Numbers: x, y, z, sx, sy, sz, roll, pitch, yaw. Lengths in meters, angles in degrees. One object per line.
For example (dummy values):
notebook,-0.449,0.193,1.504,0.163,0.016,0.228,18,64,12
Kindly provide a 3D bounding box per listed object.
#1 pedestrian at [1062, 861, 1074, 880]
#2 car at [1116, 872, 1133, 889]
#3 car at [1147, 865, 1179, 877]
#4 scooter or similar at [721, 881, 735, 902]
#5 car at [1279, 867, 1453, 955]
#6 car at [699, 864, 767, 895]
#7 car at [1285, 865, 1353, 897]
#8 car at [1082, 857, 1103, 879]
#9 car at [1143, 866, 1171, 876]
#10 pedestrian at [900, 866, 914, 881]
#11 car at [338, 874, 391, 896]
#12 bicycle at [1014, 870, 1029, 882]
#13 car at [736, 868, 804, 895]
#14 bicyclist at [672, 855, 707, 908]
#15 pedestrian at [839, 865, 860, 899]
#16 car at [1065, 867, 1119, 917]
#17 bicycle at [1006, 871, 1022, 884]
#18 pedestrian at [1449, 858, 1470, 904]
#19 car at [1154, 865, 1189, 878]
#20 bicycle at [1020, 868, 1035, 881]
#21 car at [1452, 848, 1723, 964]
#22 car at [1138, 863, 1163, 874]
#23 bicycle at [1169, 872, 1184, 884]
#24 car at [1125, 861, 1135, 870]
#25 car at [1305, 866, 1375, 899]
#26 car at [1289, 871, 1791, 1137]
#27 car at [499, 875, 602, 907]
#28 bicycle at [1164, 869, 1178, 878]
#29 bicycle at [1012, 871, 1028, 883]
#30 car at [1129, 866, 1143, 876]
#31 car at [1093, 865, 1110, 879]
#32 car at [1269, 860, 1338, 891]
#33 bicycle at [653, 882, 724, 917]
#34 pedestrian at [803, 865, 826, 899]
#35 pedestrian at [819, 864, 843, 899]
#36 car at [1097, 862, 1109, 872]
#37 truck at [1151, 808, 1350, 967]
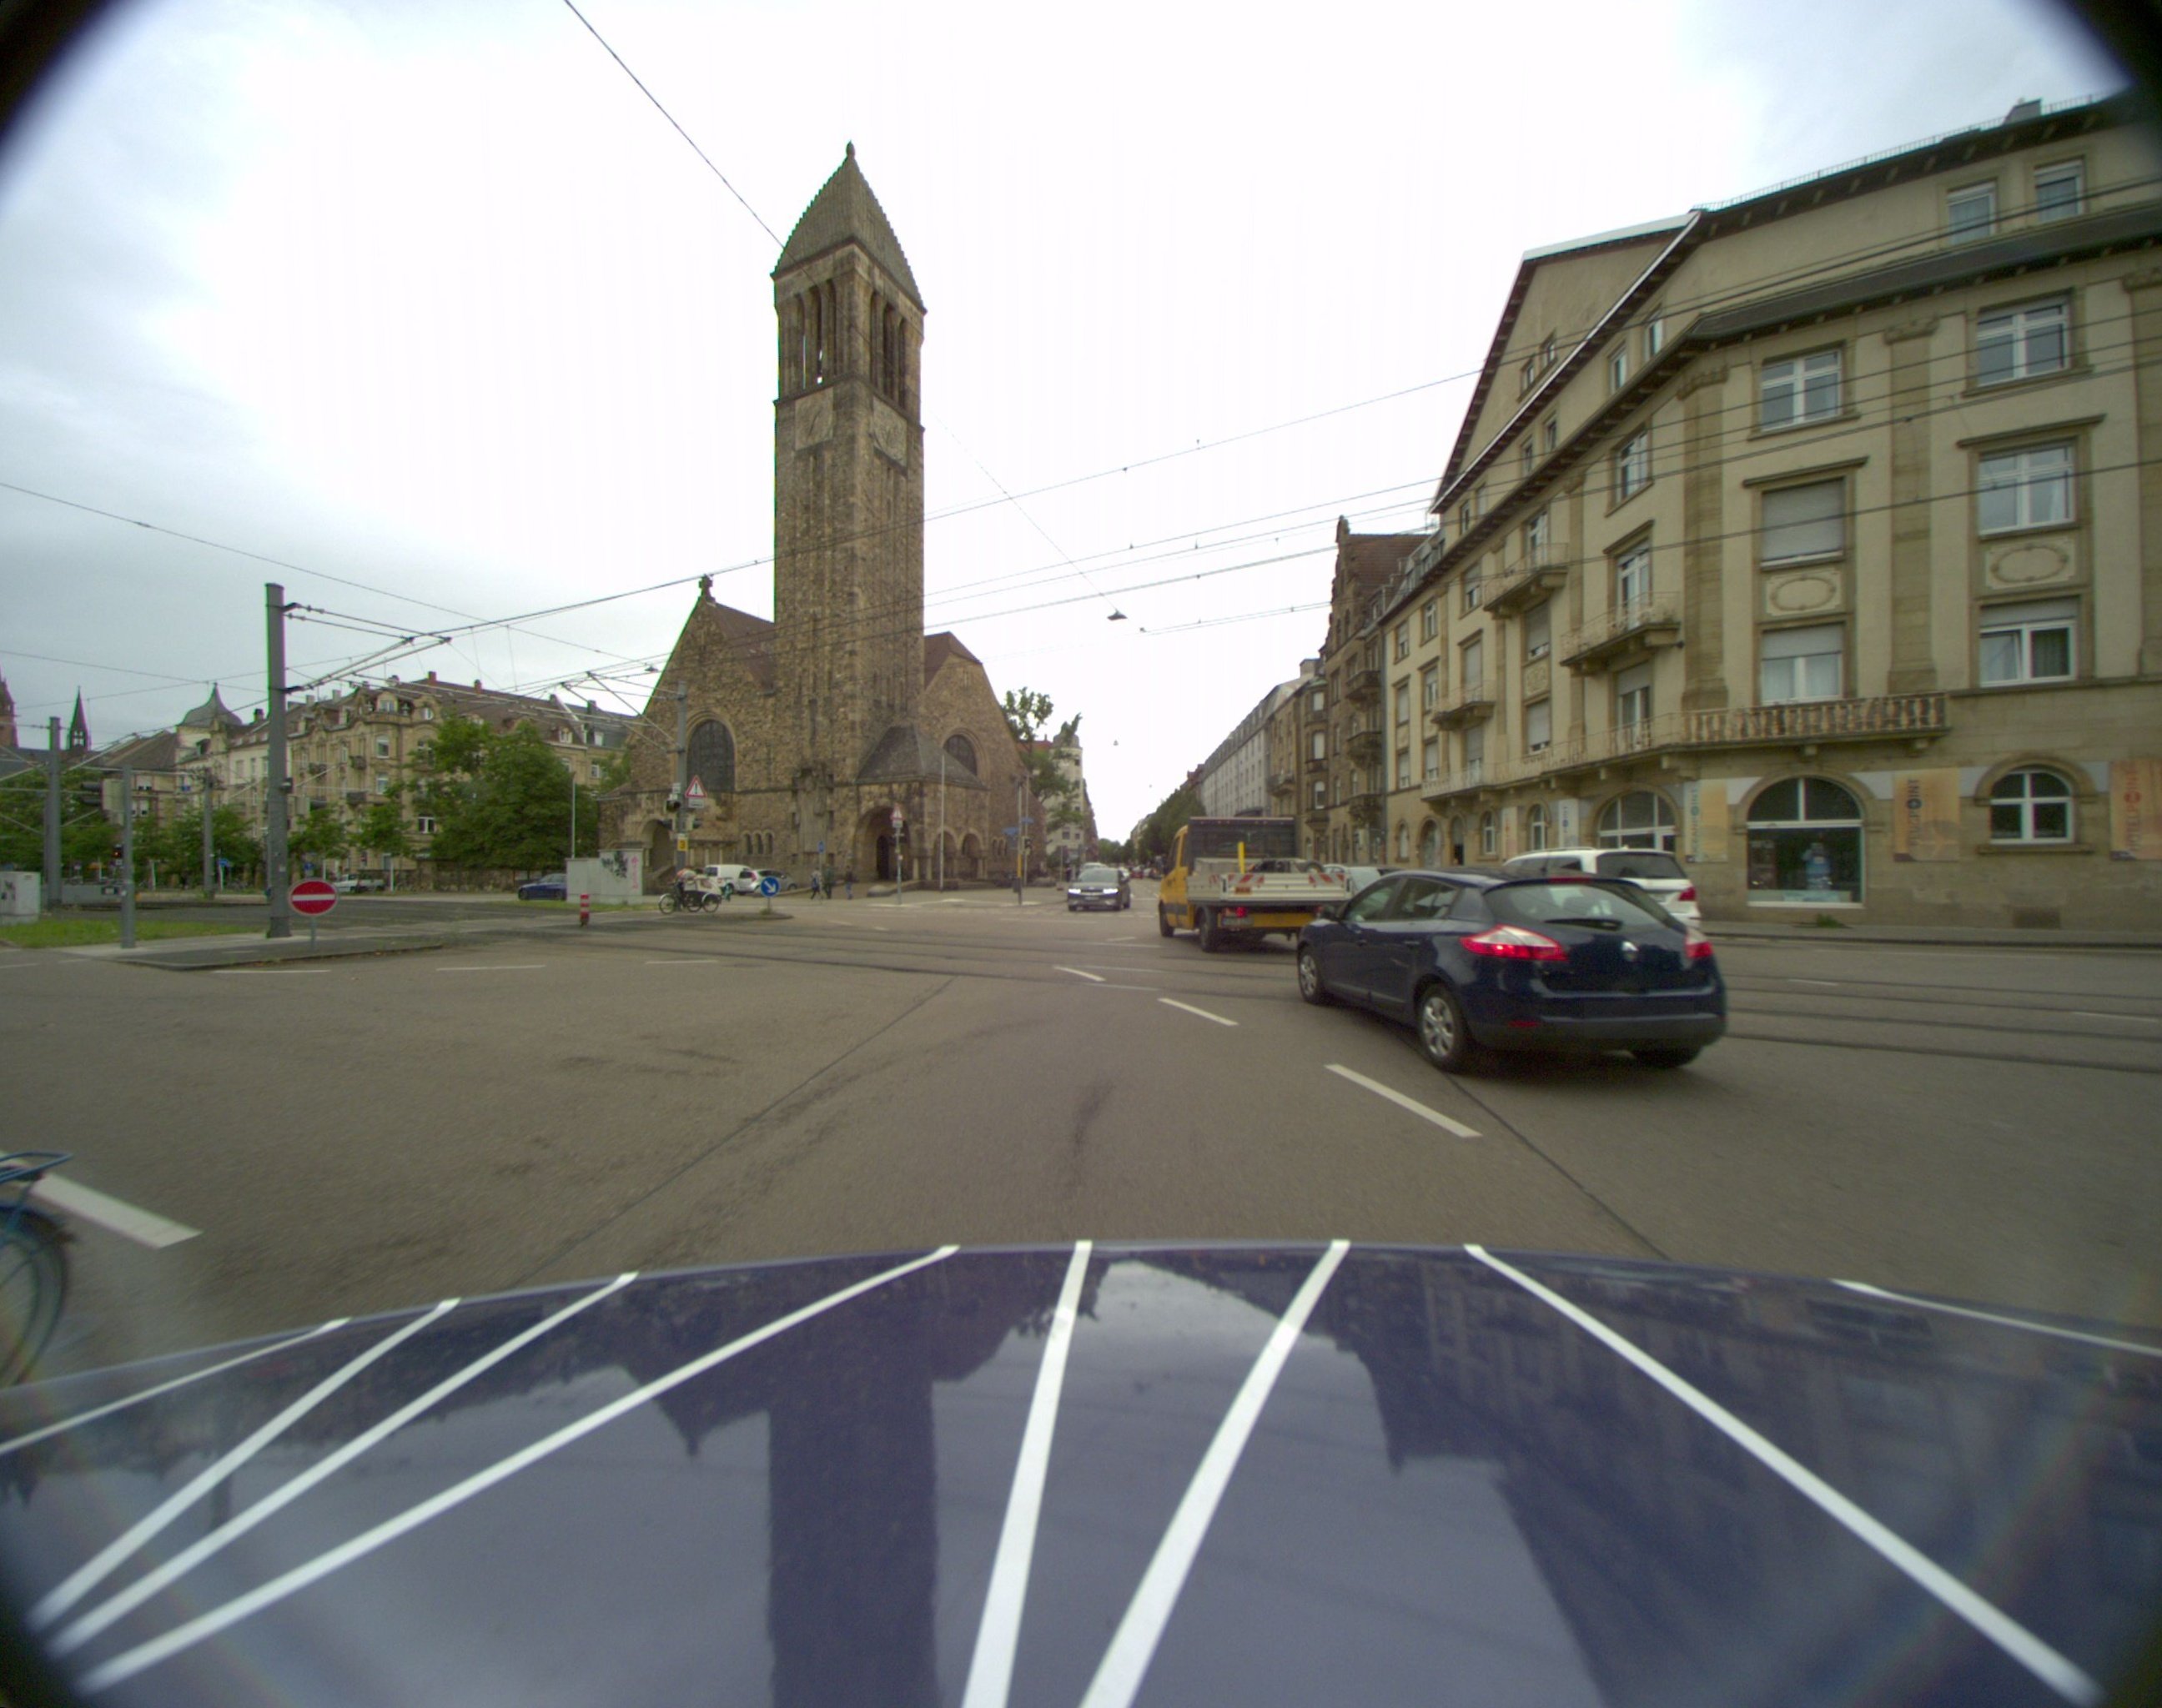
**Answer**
pedestrian,-1.276,1.591,73.611,0.814,1.798,1.021,0,2,24
car,4.849,2.894,85.002,1.832,1.761,4.000,-1,0,1
car,11.470,2.348,106.567,4.004,1.619,1.997,0,-1,-20
scooter or similar,-18.055,1.899,38.848,0.771,1.047,0.240,0,0,28
car,5.539,1.028,15.363,1.737,1.516,3.998,0,-1,-5
car,-21.414,1.529,46.908,1.683,1.782,3.474,0,0,29
car,12.946,1.438,41.207,4.007,1.464,1.560,-2,0,-40
car,1.080,1.246,68.351,1.809,1.908,5.165,0,-1,1
car,11.899,2.675,119.144,4.004,1.488,1.735,0,-1,-20
pedestrian,-11.708,1.306,51.078,0.672,0.946,0.616,0,0,25
car,-52.245,2.255,55.390,3.458,1.521,1.690,0,0,26
bicycle,-5.172,1.893,65.942,1.380,1.053,0.311,0,0,25
car,-18.460,1.609,45.195,1.614,1.521,3.474,0,0,29
bicyclist,-12.256,0.853,23.783,0.614,1.644,0.755,0,0,24
pedestrian,-11.723,1.430,38.515,0.676,1.676,0.969,2,0,3
car,0.462,1.302,27.271,1.819,1.675,4.001,0,-1,3
bicycle,-5.708,1.978,64.711,1.380,1.053,0.311,0,0,25
pedestrian,16.037,1.139,32.202,0.620,1.947,0.551,0,0,4
car,11.658,2.274,97.904,4.004,1.619,1.769,0,-1,-20
bicycle,-4.726,1.833,67.275,1.340,1.140,0.311,0,0,25
car,9.171,0.854,14.467,1.871,1.815,5.227,0,-1,3
car,12.675,2.665,138.798,4.004,1.897,1.997,0,-1,-20
bicycle,11.202,2.784,89.350,1.629,1.345,0.416,-2,0,1
car,9.475,2.220,147.065,1.698,1.792,4.130,0,-1,0
car,13.033,1.408,38.113,1.679,1.463,4.008,-3,-1,44
car,3.226,0.904,6.370,1.671,1.480,3.903,0,-1,-4
car,-25.005,1.726,35.832,4.310,1.397,1.824,0,-1,20
bicycle,11.061,2.352,93.522,1.629,1.067,0.416,-2,0,1
bicycle,-5.271,1.951,65.342,1.380,1.053,0.311,0,0,25
car,7.687,2.353,106.334,1.653,1.438,3.511,0,-1,0
car,2.406,2.061,88.304,1.819,1.556,4.001,0,-1,3
car,12.830,1.214,43.722,4.234,1.642,1.727,-1,0,-40
bicycle,-12.257,1.412,23.785,0.551,0.990,2.065,0,0,25
pedestrian,-13.417,1.417,38.241,0.634,1.663,0.970,2,0,9
pedestrian,-12.888,1.422,39.198,0.806,1.748,0.969,2,0,3
car,3.506,2.112,119.813,1.819,1.556,4.001,0,-1,3
truck,2.844,0.551,14.273,2.081,2.394,5.460,0,-1,-5
